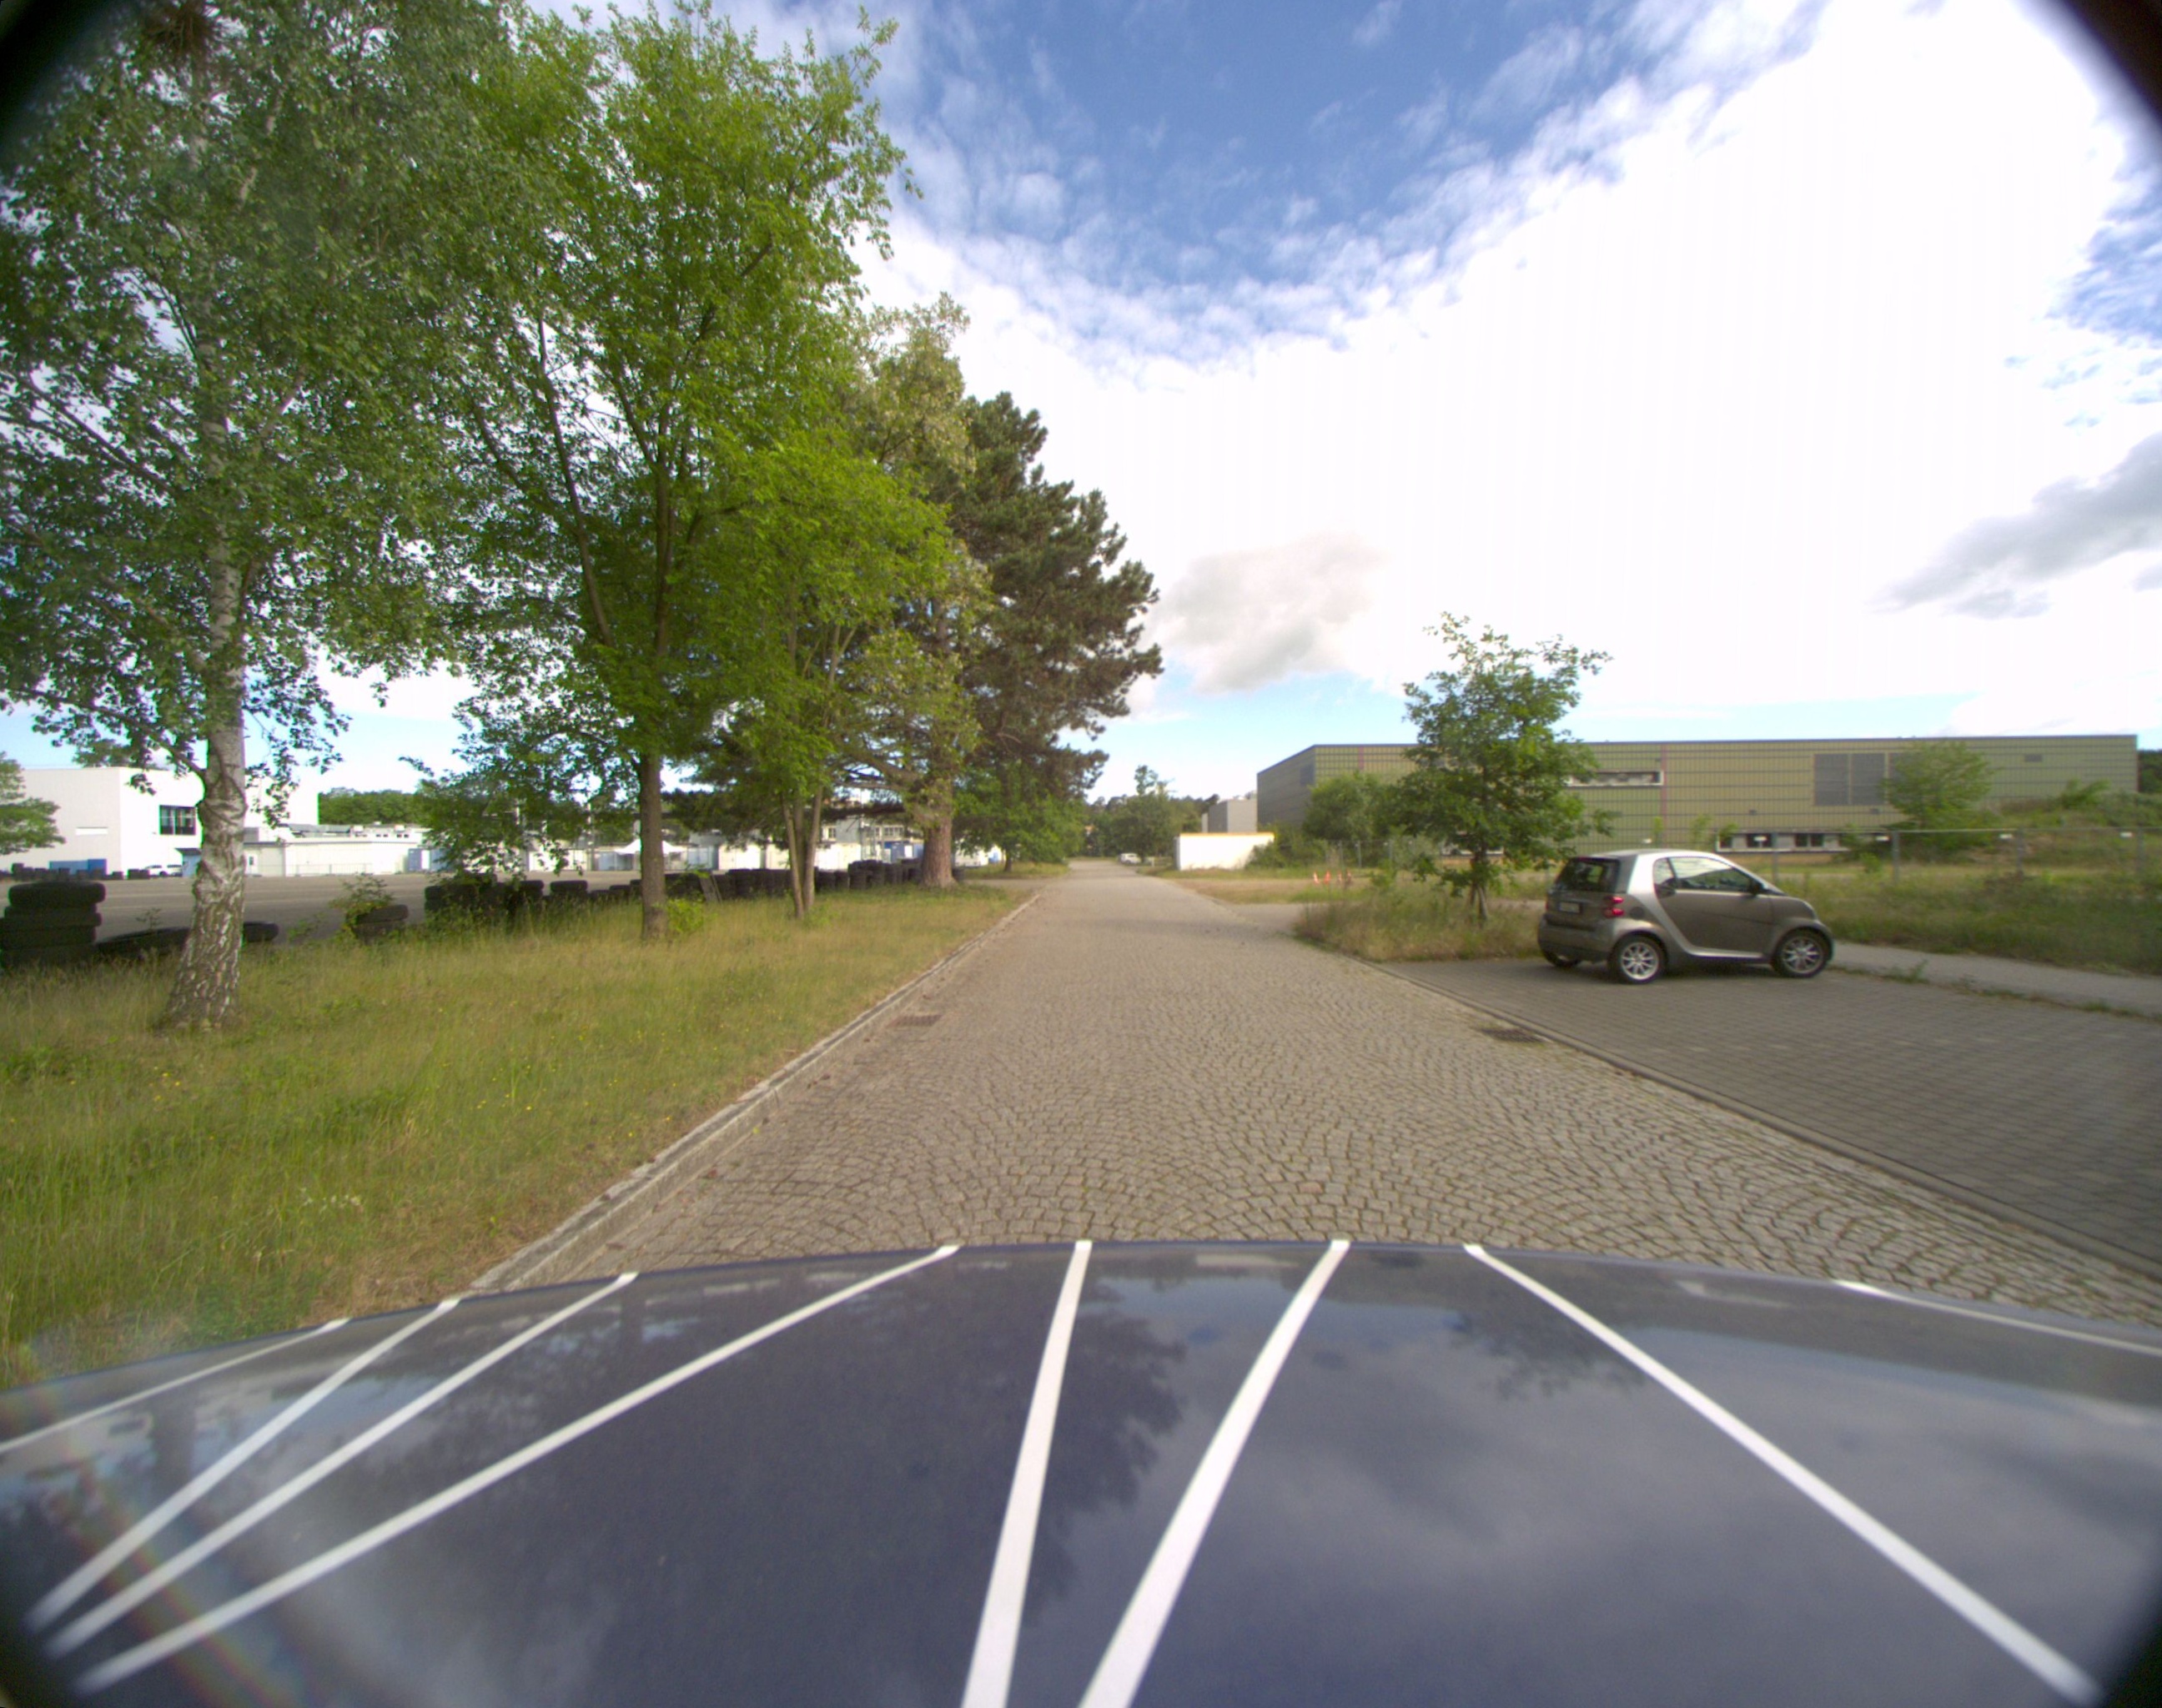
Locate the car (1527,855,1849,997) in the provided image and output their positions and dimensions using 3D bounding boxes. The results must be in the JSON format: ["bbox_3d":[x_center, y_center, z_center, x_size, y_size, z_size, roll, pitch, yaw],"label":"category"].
[{"bbox_3d":[7.325,0.814,9.376,2.661,1.502,1.610,-2,0,0],"label":"car"}]

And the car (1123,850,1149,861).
[{"bbox_3d":[8.414,0.227,116.594,3.996,1.604,1.797,0,1,4],"label":"car"}]
